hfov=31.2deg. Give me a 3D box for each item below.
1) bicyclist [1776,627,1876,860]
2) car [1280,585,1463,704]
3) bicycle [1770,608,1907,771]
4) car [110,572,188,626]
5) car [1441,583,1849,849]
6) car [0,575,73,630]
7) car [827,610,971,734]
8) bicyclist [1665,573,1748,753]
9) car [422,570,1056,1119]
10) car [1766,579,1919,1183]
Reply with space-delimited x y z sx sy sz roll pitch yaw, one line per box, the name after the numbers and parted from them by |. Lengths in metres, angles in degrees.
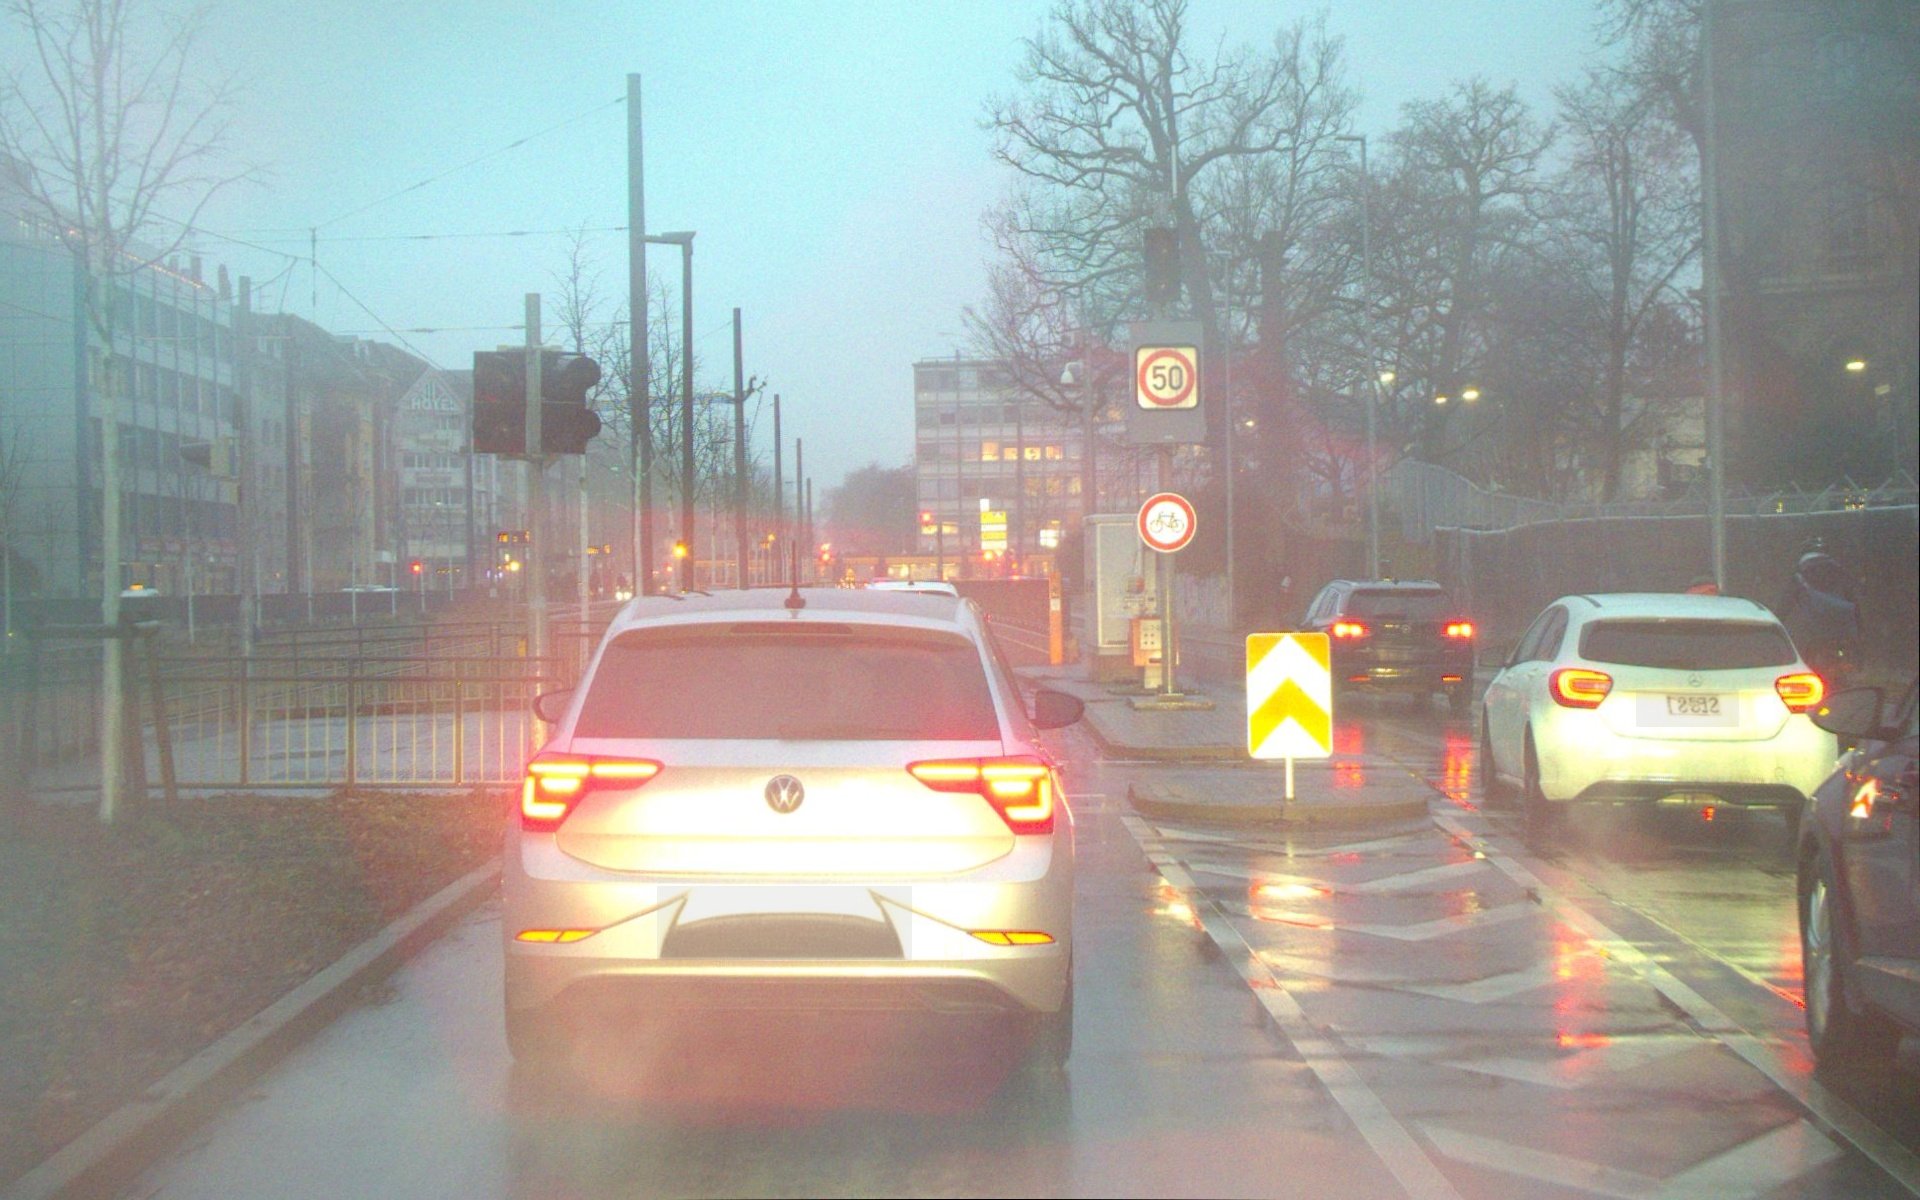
6.736 1.104 26.765 0.500 1.761 0.837 -1 1 -3 | bicyclist
4.737 0.501 39.996 1.623 1.295 4.000 1 0 0 | car
6.761 0.667 26.541 0.411 1.181 2.029 -1 1 -3 | bicycle
-30.291 -0.052 128.570 1.993 1.926 4.913 -2 1 -3 | car
4.157 0.666 21.456 1.722 1.474 4.000 1 0 0 | car
-30.197 0.079 111.410 1.993 1.687 4.112 -2 1 -3 | car
-0.744 0.883 43.837 1.722 1.474 4.000 1 0 0 | car
6.707 0.553 30.915 0.500 1.586 0.837 -1 1 -3 | bicyclist
-0.609 0.657 11.478 1.722 1.474 4.000 1 1 0 | car
3.266 0.702 8.921 1.723 1.474 3.999 1 0 5 | car
